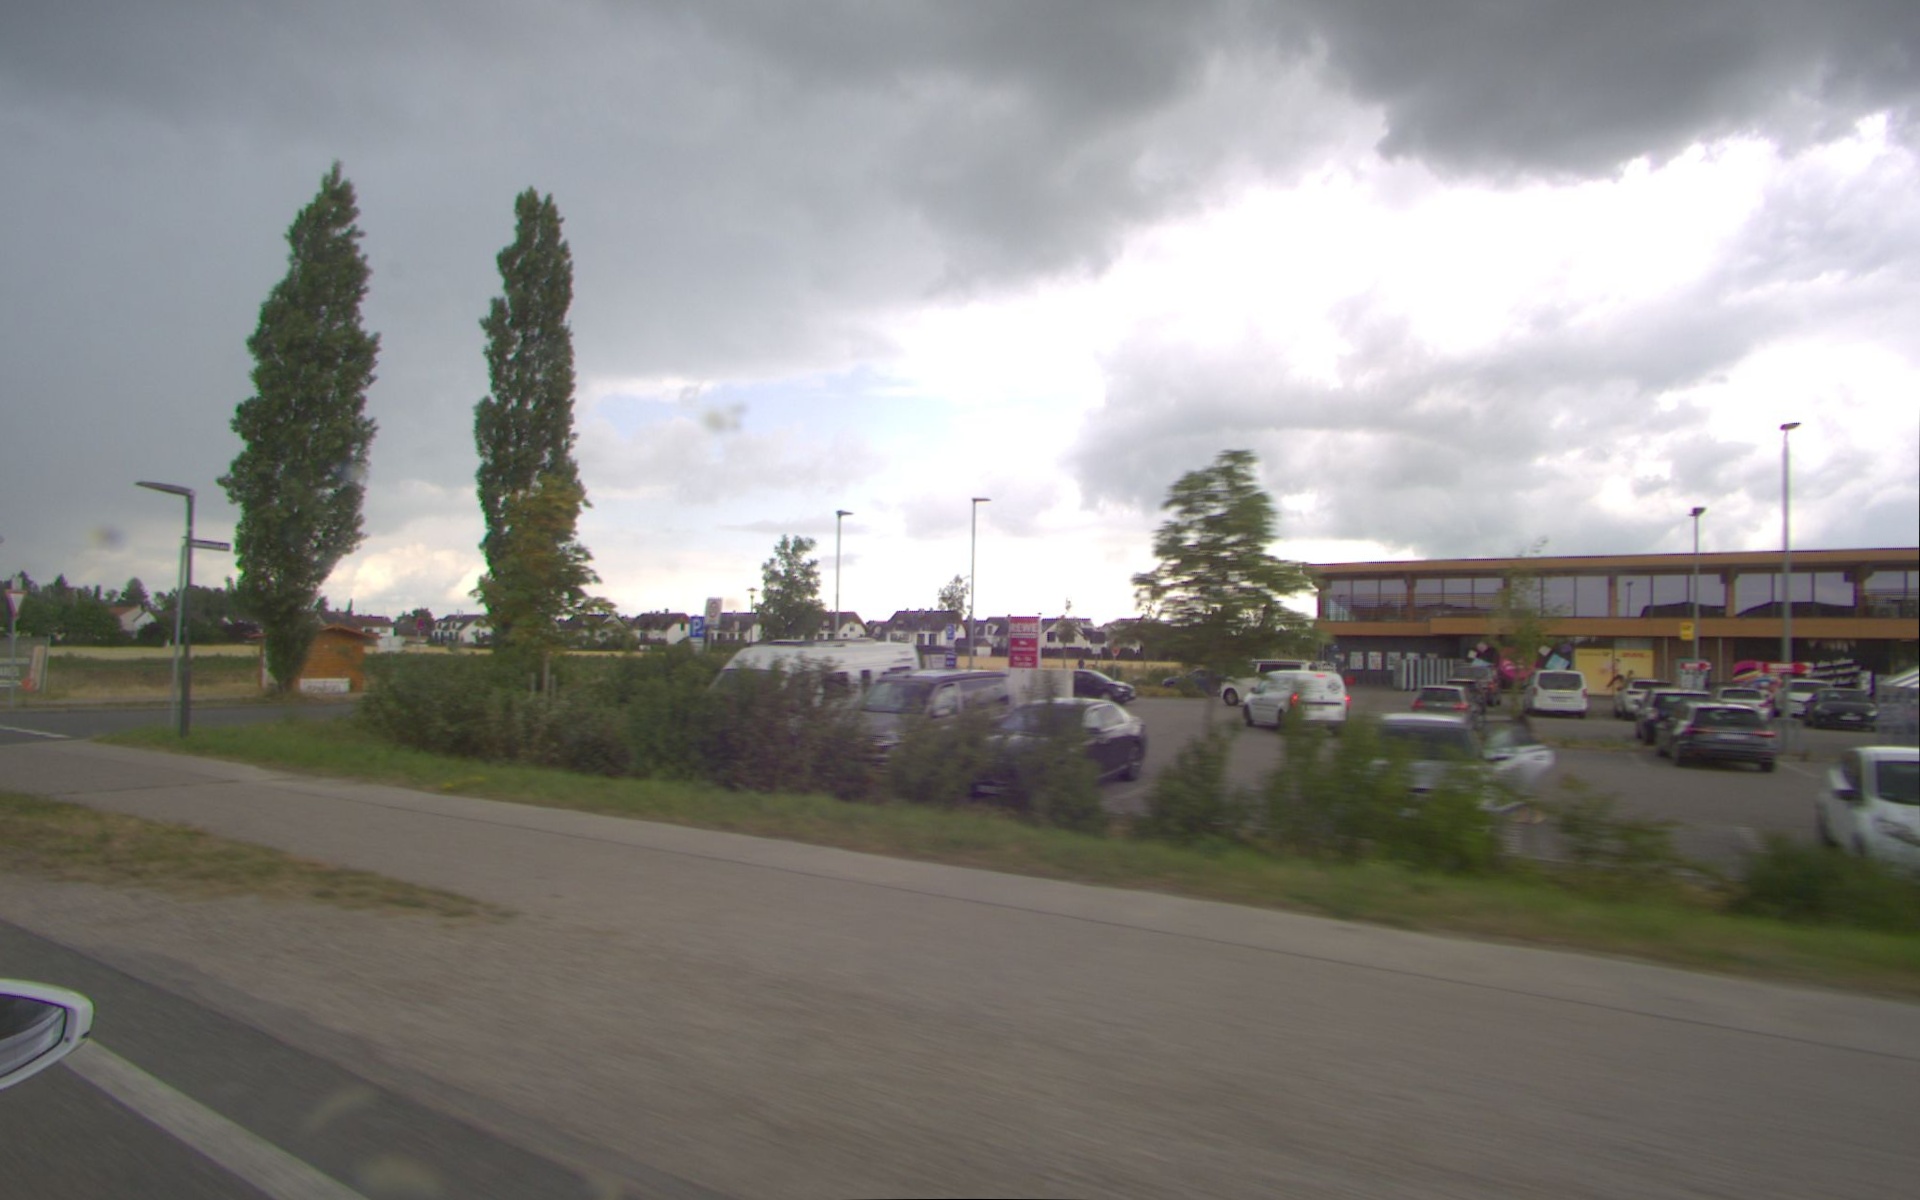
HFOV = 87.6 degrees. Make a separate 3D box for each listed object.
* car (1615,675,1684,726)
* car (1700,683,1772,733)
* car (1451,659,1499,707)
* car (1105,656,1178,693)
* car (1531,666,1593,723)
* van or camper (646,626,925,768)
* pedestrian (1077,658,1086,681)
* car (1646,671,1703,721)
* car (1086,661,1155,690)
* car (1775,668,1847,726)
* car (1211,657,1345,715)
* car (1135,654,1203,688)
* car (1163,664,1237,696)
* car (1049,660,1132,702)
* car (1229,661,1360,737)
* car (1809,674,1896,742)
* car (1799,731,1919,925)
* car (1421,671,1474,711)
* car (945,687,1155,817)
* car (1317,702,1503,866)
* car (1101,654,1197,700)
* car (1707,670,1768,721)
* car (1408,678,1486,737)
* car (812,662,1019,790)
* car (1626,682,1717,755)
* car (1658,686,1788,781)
[{"bbox_3d":[26.573,3.826,38.691,2.010,1.628,3.730,0,-1,32],"label":"car"},{"bbox_3d":[28.827,3.980,37.299,1.768,1.496,3.730,0,-1,32],"label":"car"},{"bbox_3d":[24.518,3.892,47.614,1.824,2.036,4.212,0,-1,30],"label":"car"},{"bbox_3d":[11.050,4.487,61.064,3.943,2.040,1.990,0,-1,32],"label":"car"},{"bbox_3d":[23.953,3.710,39.924,2.009,1.936,3.888,0,-1,30],"label":"car"},{"bbox_3d":[-3.390,1.821,21.250,2.247,2.496,6.459,0,-1,30],"label":"van or camper"},{"bbox_3d":[9.636,5.478,79.388,0.591,1.784,0.481,0,0,32],"label":"pedestrian"},{"bbox_3d":[30.378,4.030,42.551,1.920,1.772,3.974,0,-1,36],"label":"car"},{"bbox_3d":[9.227,4.320,57.643,3.528,1.527,1.742,0,-1,32],"label":"car"},{"bbox_3d":[34.647,3.910,40.864,1.974,2.040,3.974,0,-1,37],"label":"car"},{"bbox_3d":[13.060,3.482,41.448,1.975,2.040,5.198,1,-1,-35],"label":"car"},{"bbox_3d":[13.551,4.576,64.959,3.943,2.040,1.990,0,-1,32],"label":"car"},{"bbox_3d":[12.862,4.250,53.748,3.528,1.527,1.742,0,-1,32],"label":"car"},{"bbox_3d":[7.002,4.322,53.847,3.943,2.040,1.990,0,-1,32],"label":"car"},{"bbox_3d":[9.958,2.900,30.300,2.069,1.931,4.943,0,-1,-3],"label":"car"},{"bbox_3d":[31.835,3.788,35.827,1.974,2.040,3.974,0,-1,37],"label":"car"},{"bbox_3d":[11.286,2.551,11.651,1.651,1.558,4.141,0,-1,30],"label":"car"},{"bbox_3d":[20.395,3.781,41.830,1.748,1.400,3.457,0,-1,30],"label":"car"},{"bbox_3d":[1.782,2.519,17.715,1.732,1.618,5.089,0,-1,30],"label":"car"},{"bbox_3d":[6.614,2.465,14.456,2.049,1.618,4.141,0,-1,30],"label":"car"},{"bbox_3d":[9.304,3.773,49.406,4.227,2.040,1.989,0,-1,34],"label":"car"},{"bbox_3d":[32.250,3.911,41.627,1.920,1.772,3.974,0,-1,36],"label":"car"},{"bbox_3d":[15.160,3.267,31.044,1.874,1.451,4.172,0,-1,30],"label":"car"},{"bbox_3d":[-0.732,2.348,19.993,1.970,2.040,4.587,0,-1,30],"label":"car"},{"bbox_3d":[20.113,3.258,28.276,1.974,1.639,3.974,0,-1,37],"label":"car"},{"bbox_3d":[17.080,2.903,22.601,1.972,1.639,3.979,0,-1,32],"label":"car"}]
